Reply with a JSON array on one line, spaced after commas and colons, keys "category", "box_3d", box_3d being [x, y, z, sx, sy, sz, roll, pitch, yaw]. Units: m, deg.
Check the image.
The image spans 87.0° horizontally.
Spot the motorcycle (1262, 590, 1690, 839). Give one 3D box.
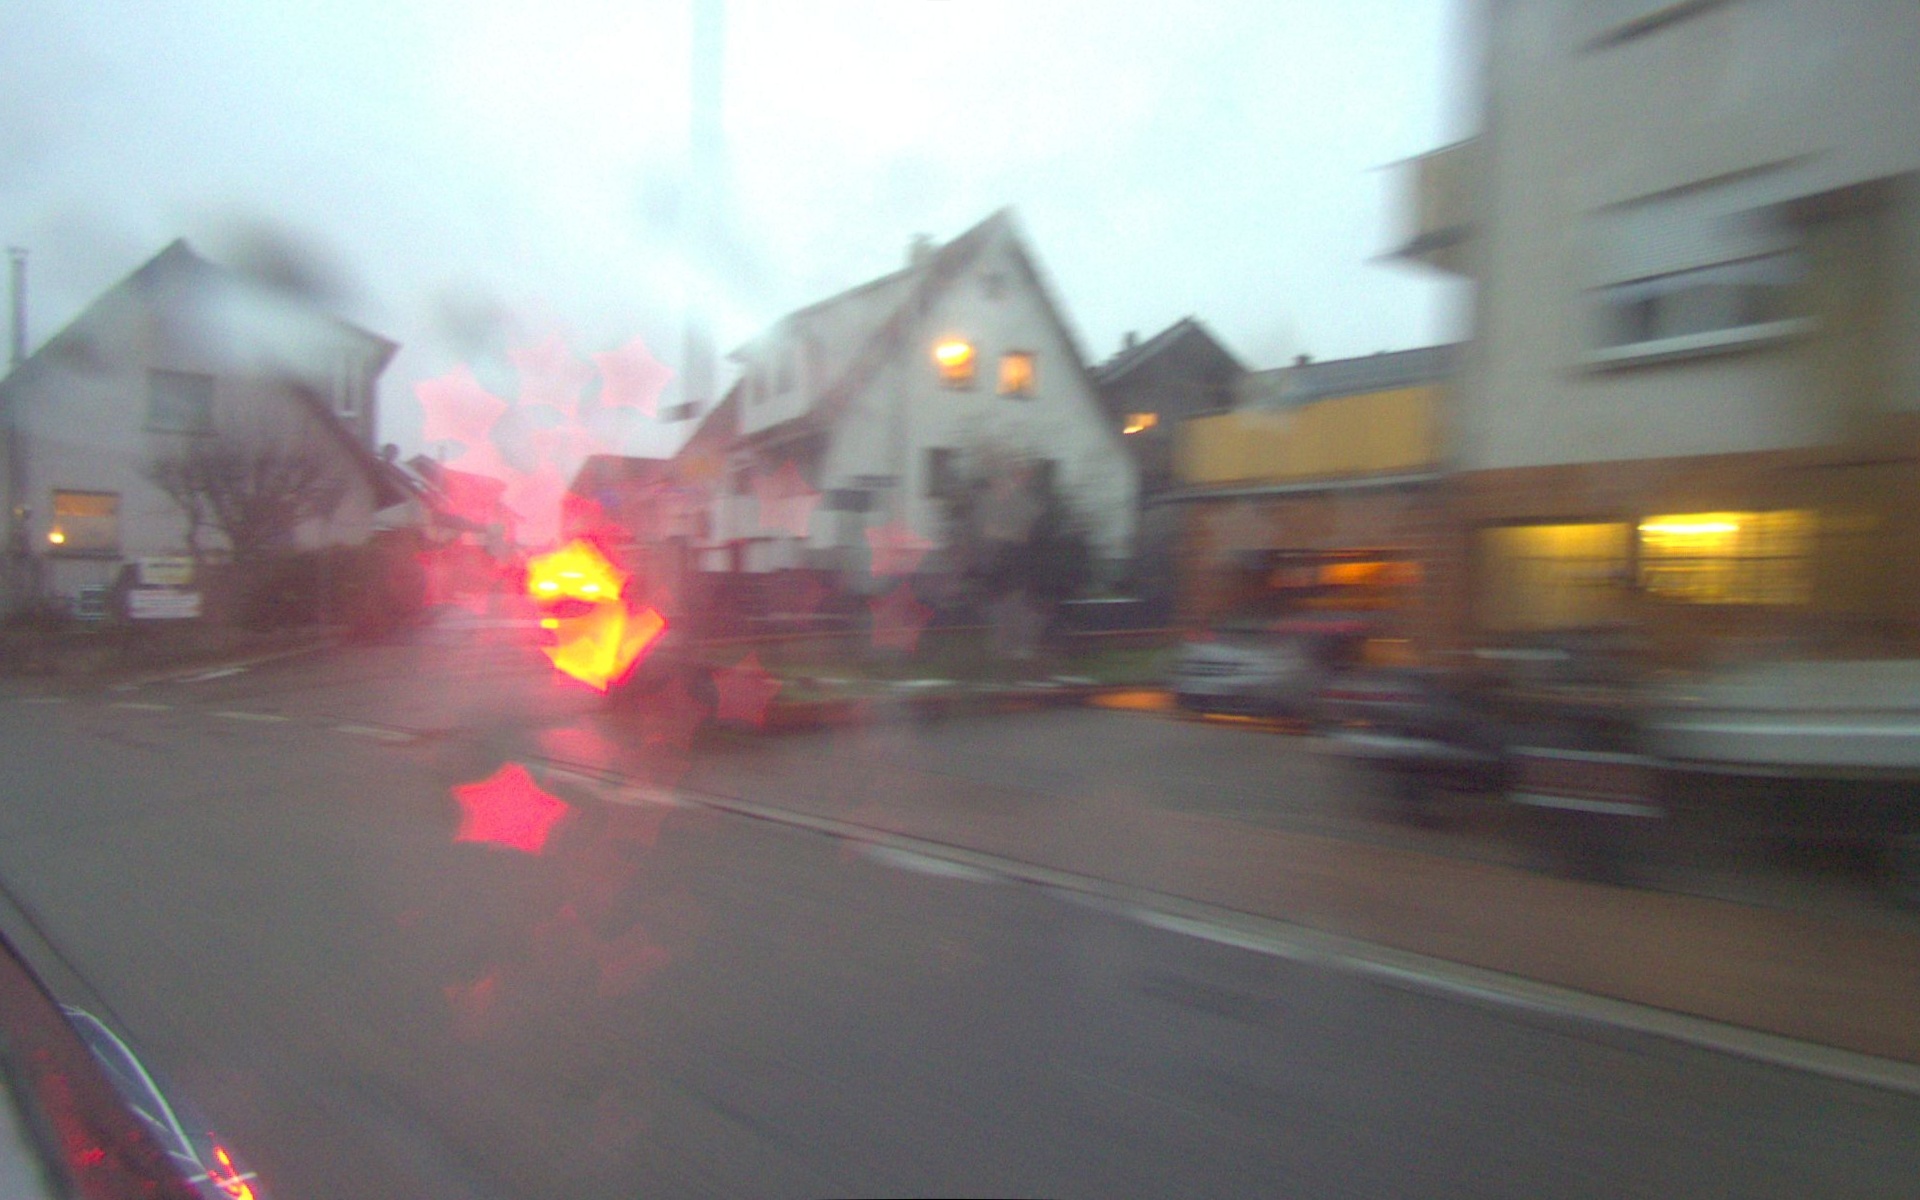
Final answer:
[{"category": "motorcycle", "box_3d": [3.175, 0.622, 6.330, 2.201, 1.308, 1.060, -2, 1, -13]}]

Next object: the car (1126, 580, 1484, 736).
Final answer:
[{"category": "car", "box_3d": [3.988, 0.523, 11.517, 3.934, 1.427, 1.922, -2, 1, -36]}]

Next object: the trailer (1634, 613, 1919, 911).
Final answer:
[{"category": "trailer", "box_3d": [5.731, 0.683, 3.927, 2.034, 1.177, 4.872, -2, 1, -44]}]

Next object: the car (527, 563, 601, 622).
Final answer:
[{"category": "car", "box_3d": [-12.250, -0.299, 31.332, 1.965, 1.643, 4.014, -2, 3, -21]}]
